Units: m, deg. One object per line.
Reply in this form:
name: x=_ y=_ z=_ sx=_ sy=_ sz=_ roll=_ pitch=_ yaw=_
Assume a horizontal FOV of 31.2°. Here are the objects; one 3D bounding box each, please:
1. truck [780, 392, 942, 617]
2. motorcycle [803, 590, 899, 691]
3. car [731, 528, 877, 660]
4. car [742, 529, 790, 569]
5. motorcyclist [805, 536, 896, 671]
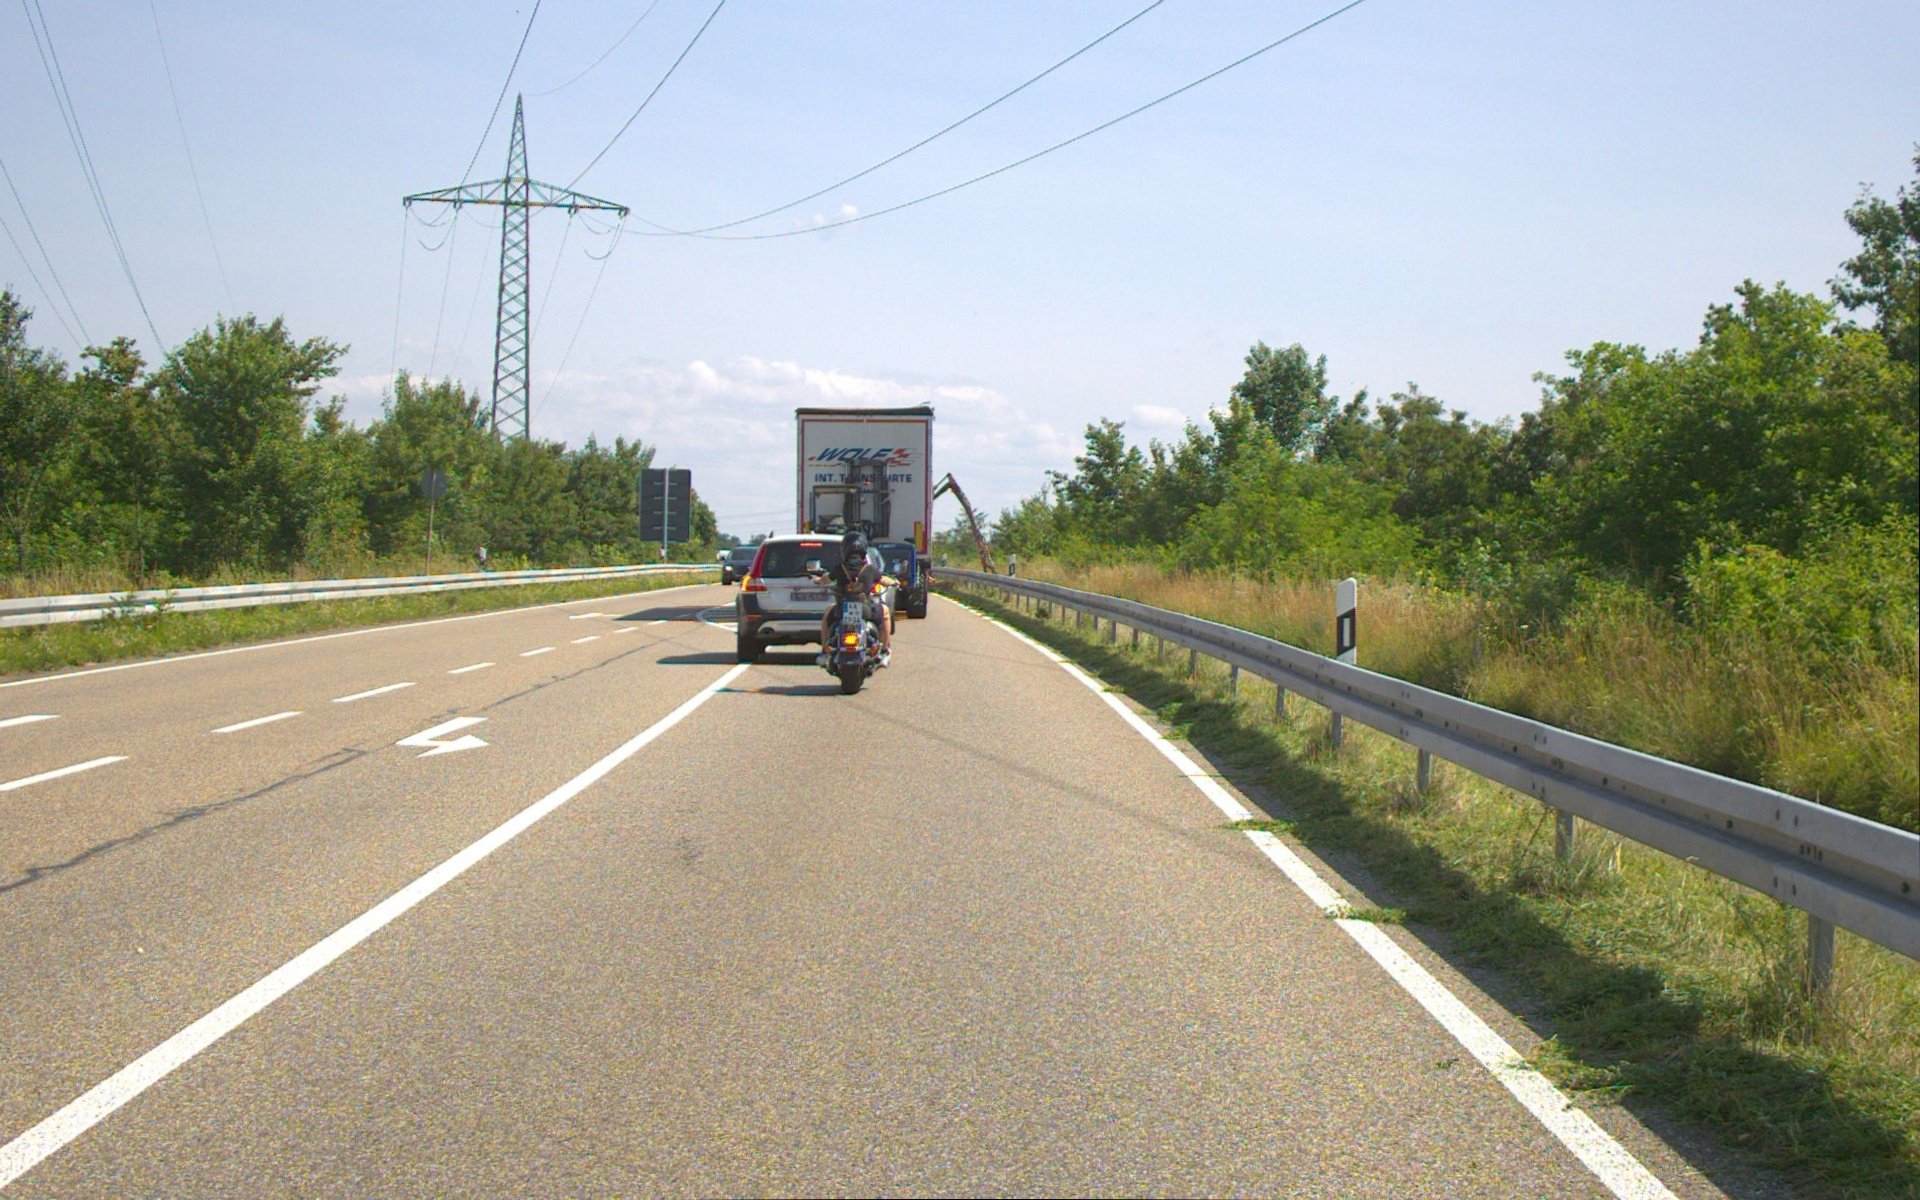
truck: x=-1.913 y=-1.919 z=71.906 sx=2.968 sy=4.172 sz=14.822 roll=1 pitch=1 yaw=0
motorcycle: x=-1.072 y=0.377 z=33.377 sx=0.858 sy=0.912 sz=2.228 roll=1 pitch=1 yaw=-3
car: x=-1.885 y=-0.102 z=42.367 sx=1.701 sy=1.531 sz=3.499 roll=1 pitch=1 yaw=-1
car: x=-7.481 y=-1.984 z=133.022 sx=1.727 sy=1.486 sz=4.423 roll=1 pitch=1 yaw=-2
motorcyclist: x=-1.067 y=0.026 z=33.347 sx=0.837 sy=1.276 sz=0.919 roll=1 pitch=1 yaw=-3
